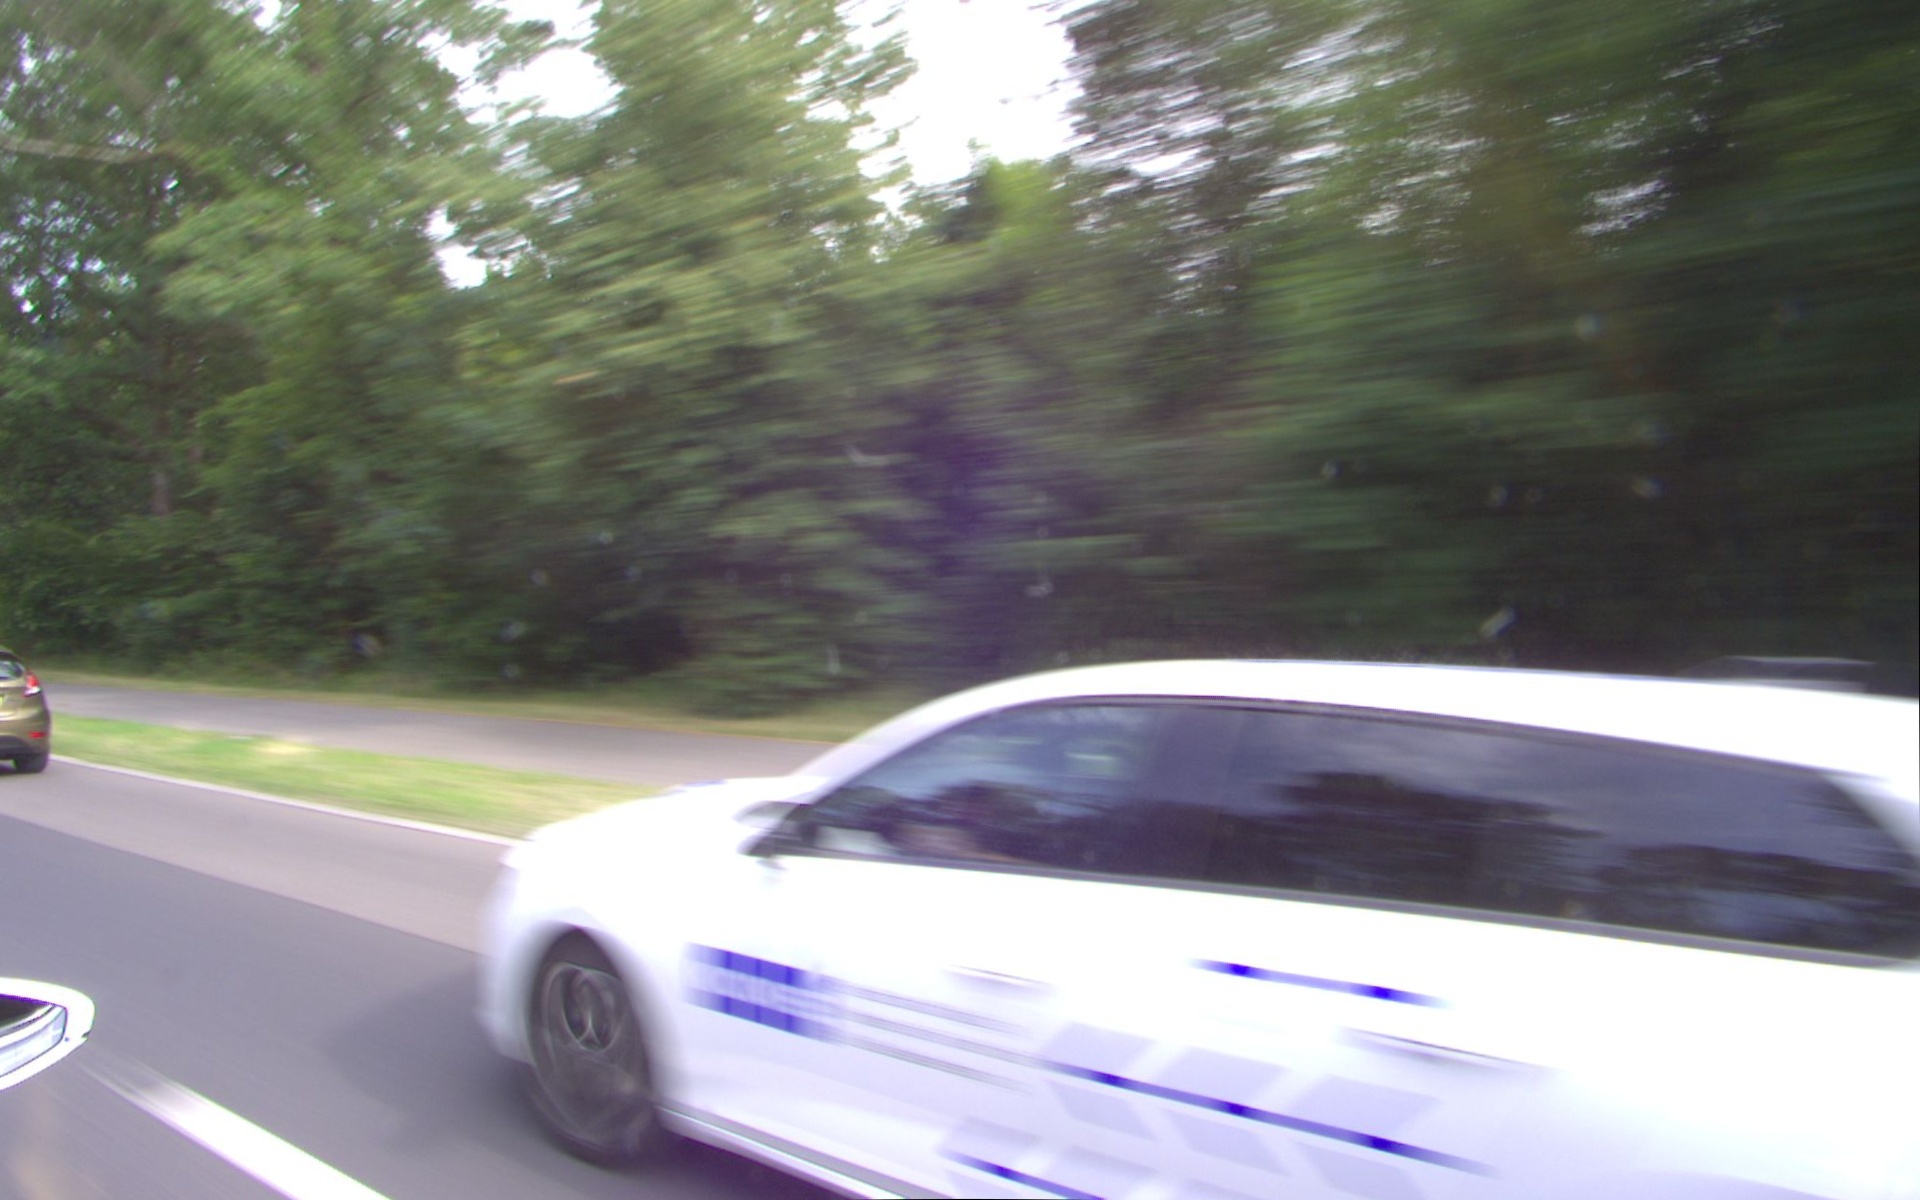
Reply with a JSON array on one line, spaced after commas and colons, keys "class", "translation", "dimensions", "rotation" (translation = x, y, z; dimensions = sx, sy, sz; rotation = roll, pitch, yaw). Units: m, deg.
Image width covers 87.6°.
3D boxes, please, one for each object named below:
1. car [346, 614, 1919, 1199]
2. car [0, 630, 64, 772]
[{"class": "car", "translation": [0.290, 0.786, 2.960], "dimensions": [4.426, 1.428, 1.833], "rotation": [0, -1, 32]}, {"class": "car", "translation": [-11.636, 1.078, 11.005], "dimensions": [3.944, 1.437, 1.633], "rotation": [-2, -4, 32]}]
